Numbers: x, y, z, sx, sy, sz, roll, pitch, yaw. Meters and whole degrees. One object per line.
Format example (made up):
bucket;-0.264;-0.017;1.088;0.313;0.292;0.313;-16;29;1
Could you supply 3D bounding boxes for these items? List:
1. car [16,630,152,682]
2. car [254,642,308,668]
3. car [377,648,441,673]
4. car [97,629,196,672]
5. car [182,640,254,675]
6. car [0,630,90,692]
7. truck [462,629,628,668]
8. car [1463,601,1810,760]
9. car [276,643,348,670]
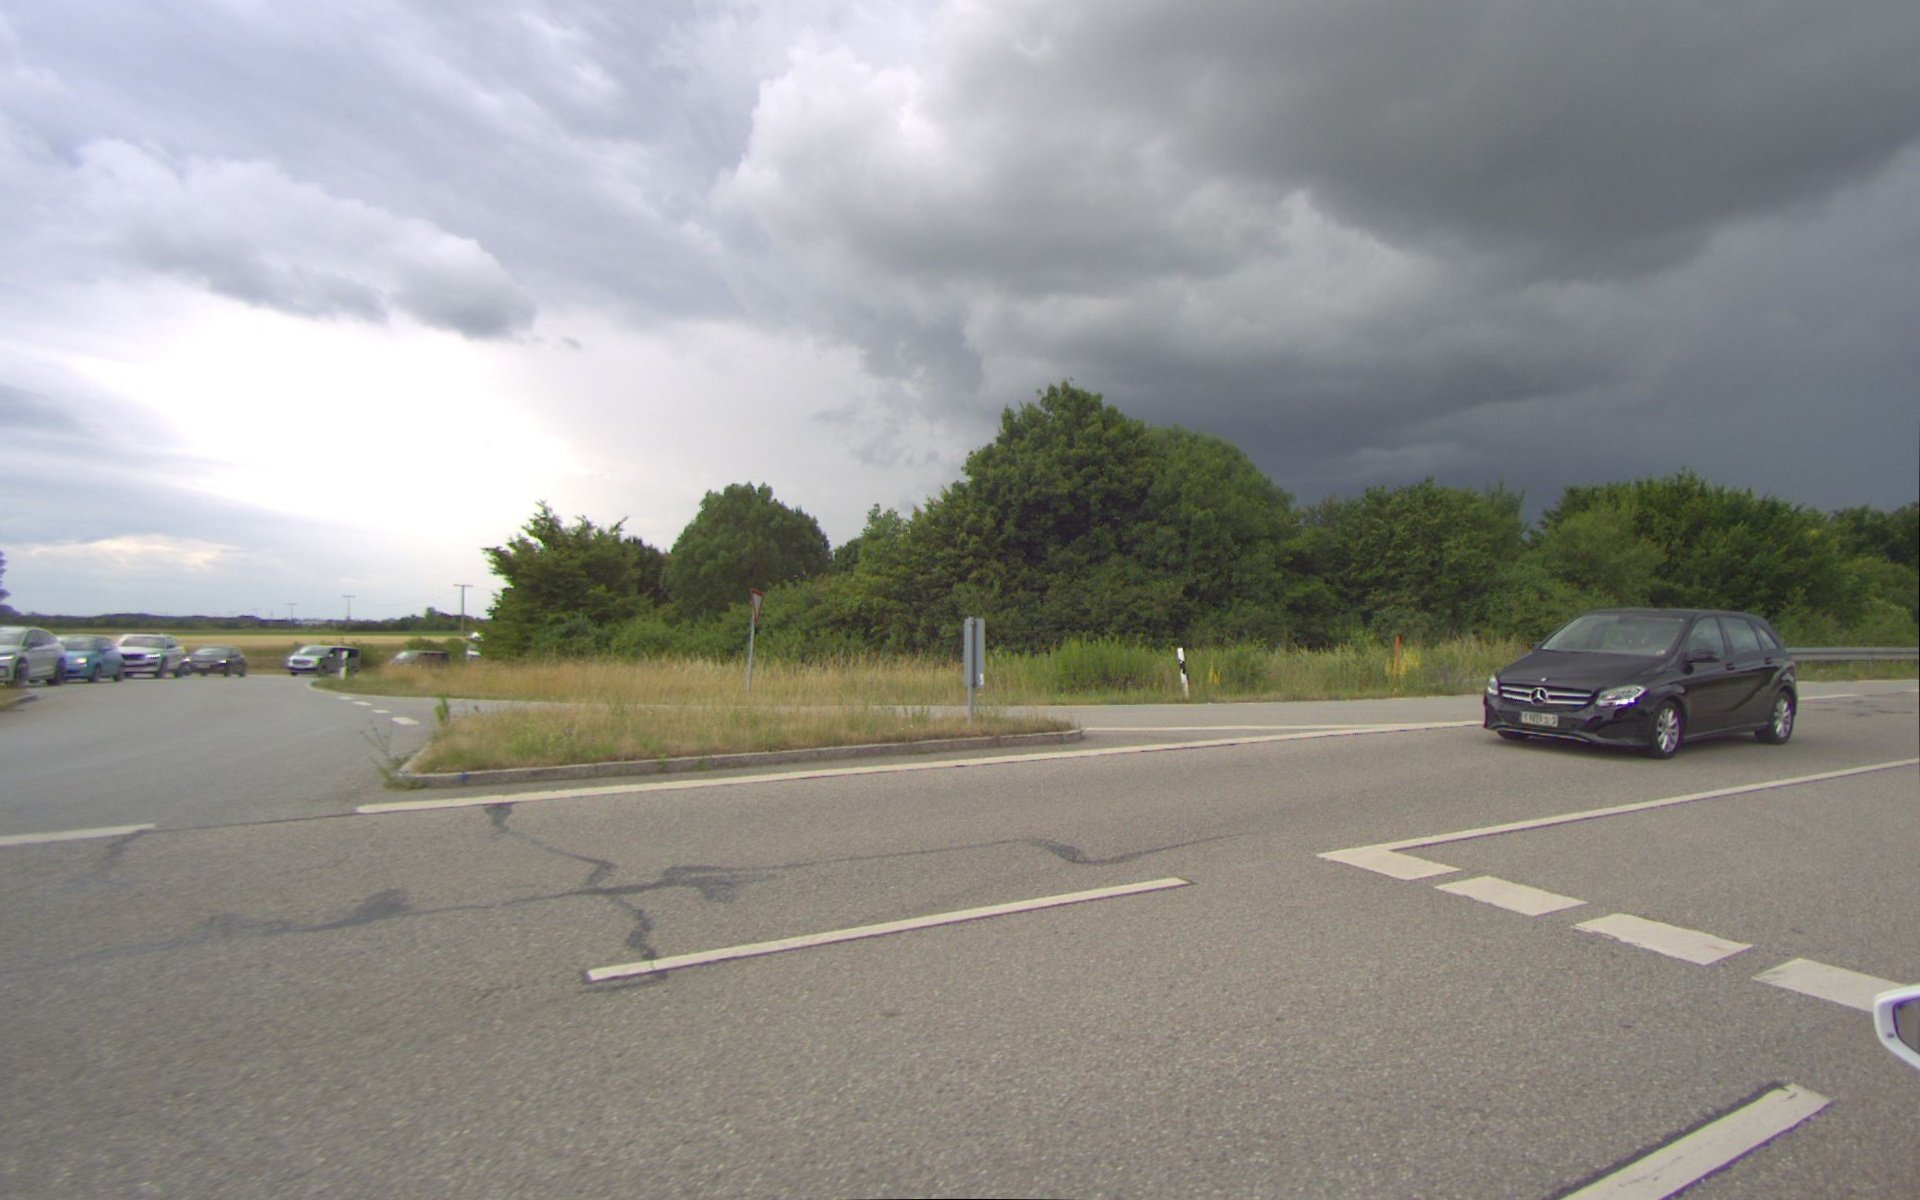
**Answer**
car;-27.732;1.715;31.984;1.884;1.502;4.482;1;-1;-22
car;-48.479;3.912;71.812;1.880;1.703;4.490;1;-1;-17
car;-41.360;4.495;75.554;1.872;1.703;4.509;0;-1;9
car;-30.586;1.858;37.919;1.886;1.502;4.477;1;-2;-25
car;-35.414;2.701;48.048;1.886;1.502;4.477;1;-2;-25
car;-25.158;1.553;26.561;1.884;1.502;4.482;1;-1;-22
truck;-36.930;4.230;90.696;2.748;3.174;16.309;0;-2;25
car;7.922;0.821;11.681;4.150;1.551;1.733;1;0;-31
car;-40.732;3.534;63.270;1.875;1.502;4.503;0;-1;-5
